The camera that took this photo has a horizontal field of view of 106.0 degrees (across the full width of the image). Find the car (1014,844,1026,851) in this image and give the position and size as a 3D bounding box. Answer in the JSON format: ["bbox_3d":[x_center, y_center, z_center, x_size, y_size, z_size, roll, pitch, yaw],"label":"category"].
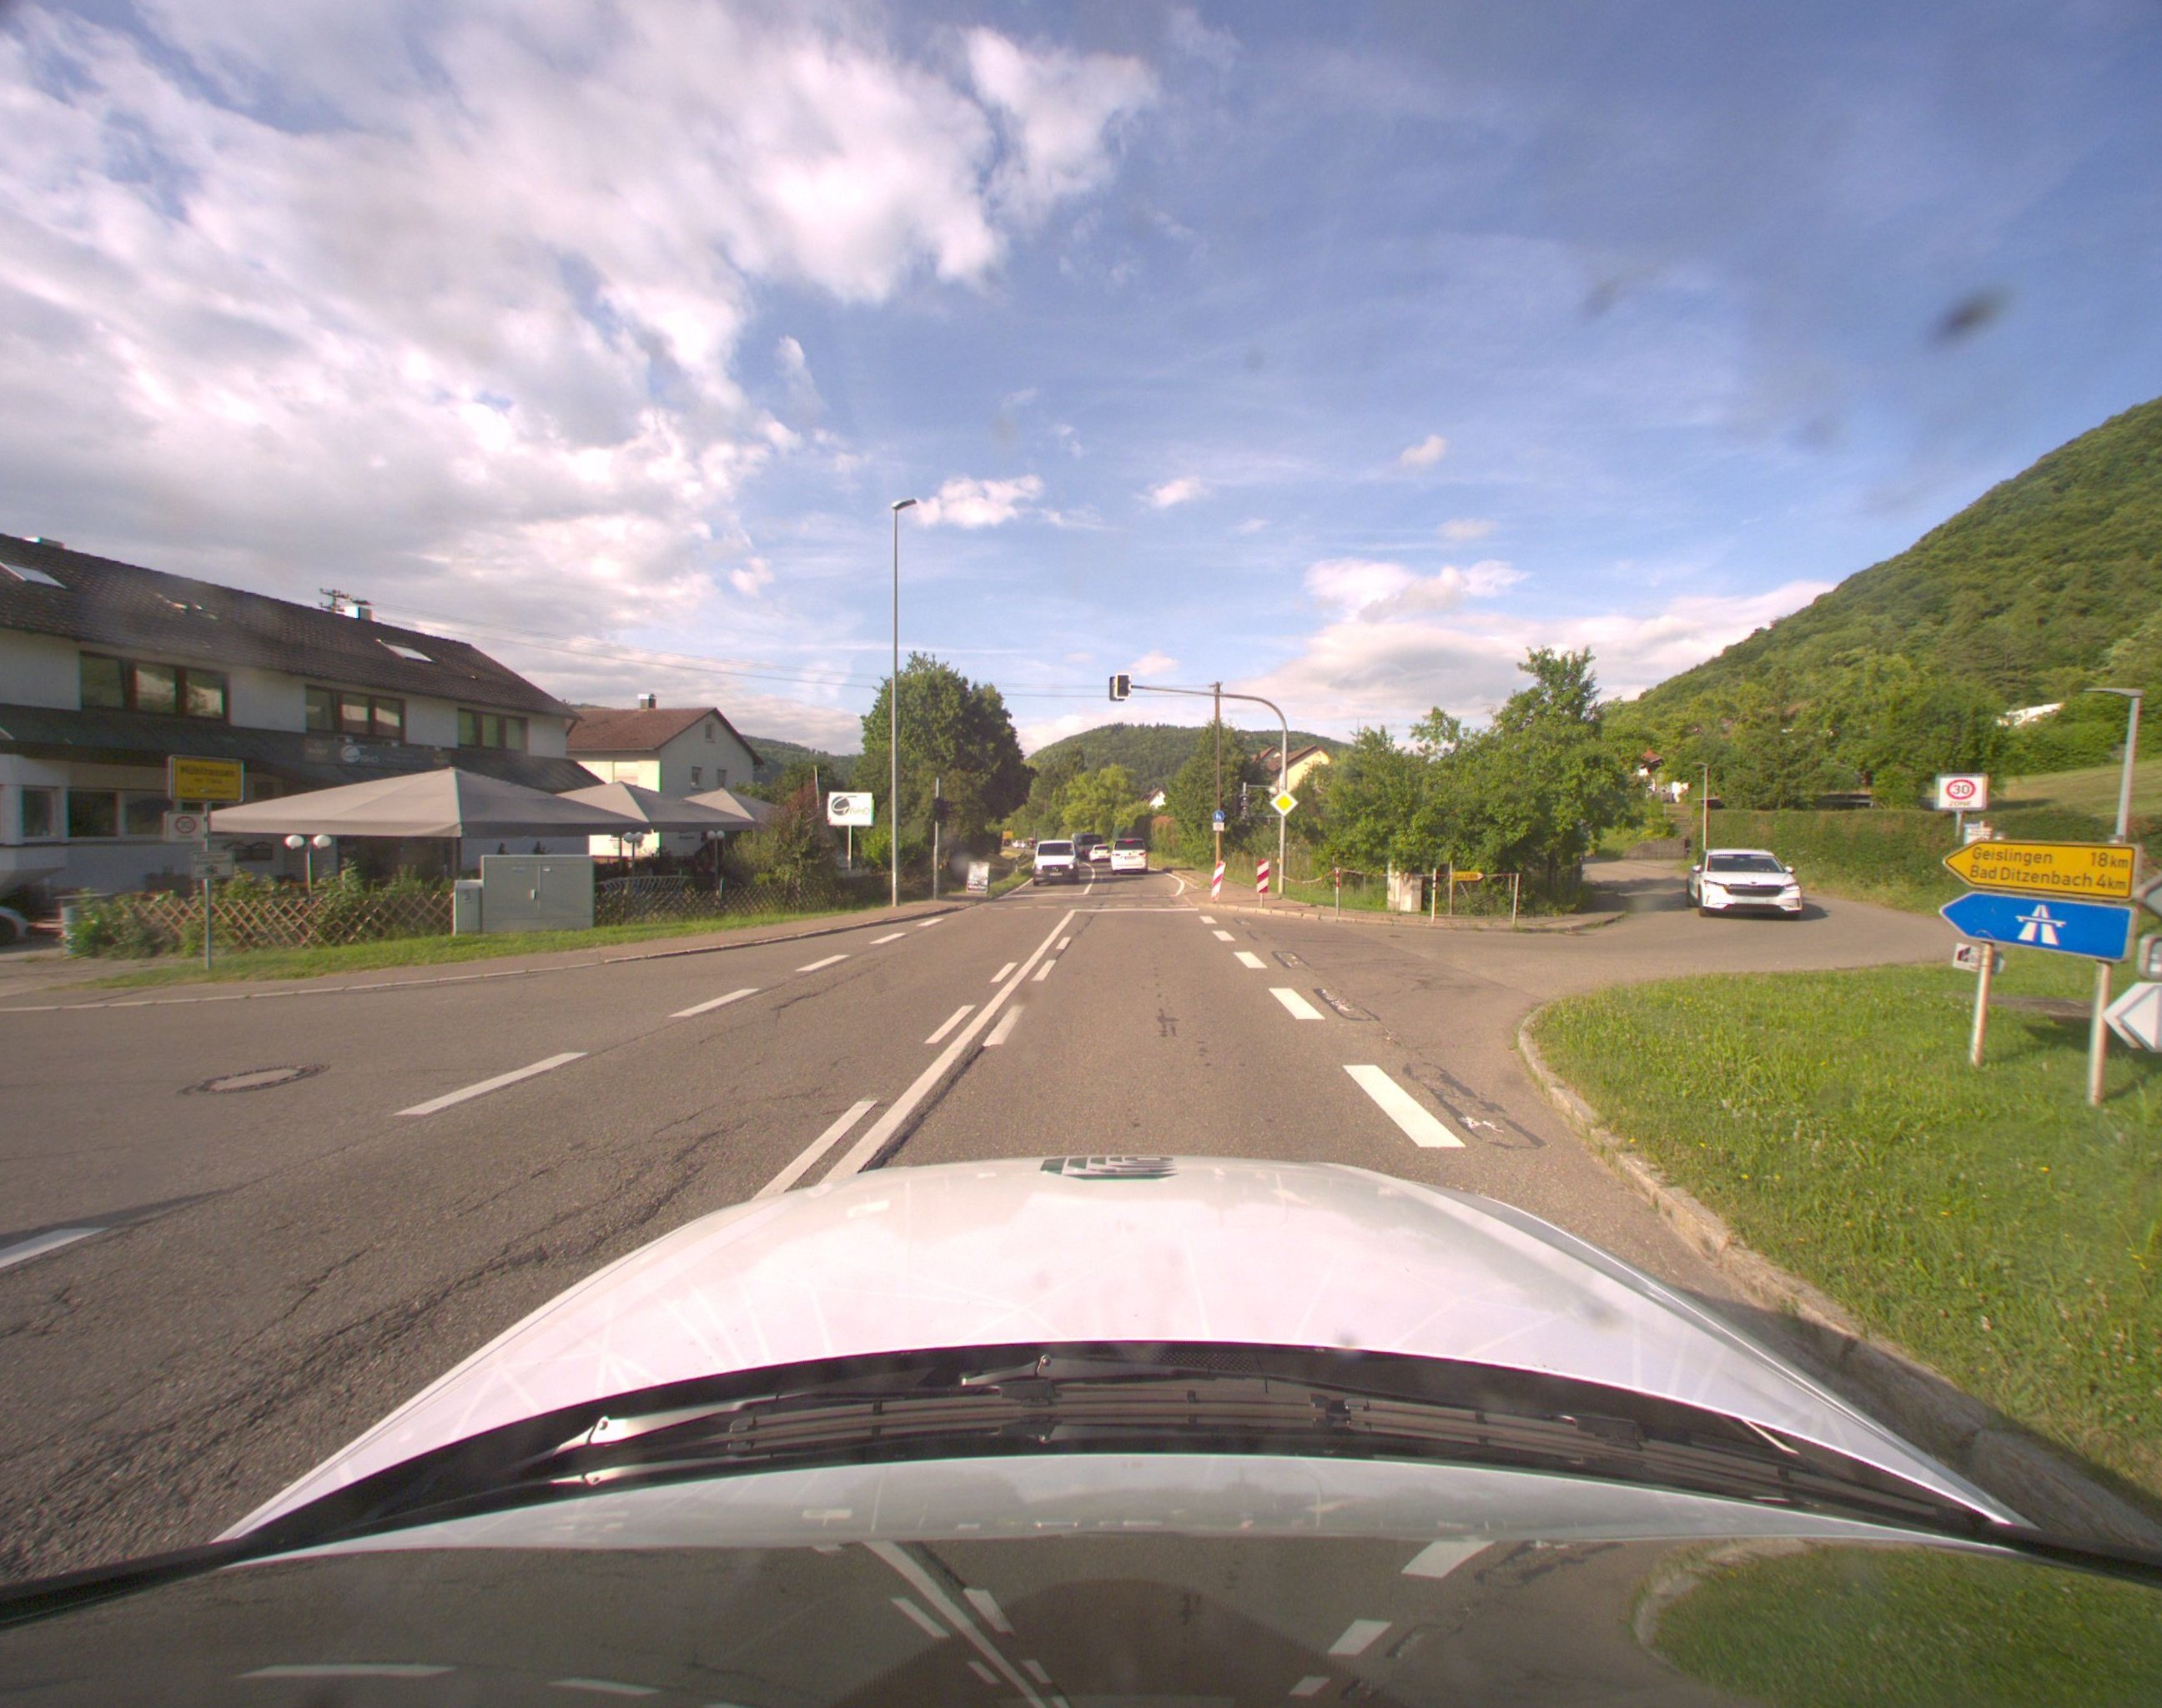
[{"bbox_3d":[-11.938,-1.239,159.404,1.943,1.424,3.986,-1,1,-11],"label":"car"}]

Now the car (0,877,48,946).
[{"bbox_3d":[-23.643,1.250,15.447,1.982,1.389,4.587,-2,0,8],"label":"car"}]

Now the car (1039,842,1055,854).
[{"bbox_3d":[-5.290,-1.014,126.168,1.798,1.793,3.983,-1,1,-13],"label":"car"}]

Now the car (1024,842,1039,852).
[{"bbox_3d":[-8.603,-1.192,141.584,2.042,1.683,3.985,0,1,-12],"label":"car"}]

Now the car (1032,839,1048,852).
[{"bbox_3d":[-6.738,-1.369,132.891,1.995,2.013,3.984,-1,1,-12],"label":"car"}]

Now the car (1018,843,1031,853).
[{"bbox_3d":[-10.377,-1.053,150.233,1.942,1.684,3.986,-2,0,-10],"label":"car"}]

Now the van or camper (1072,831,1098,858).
[{"bbox_3d":[0.364,-1.048,91.838,2.411,2.904,6.121,-1,1,-5],"label":"van or camper"}]

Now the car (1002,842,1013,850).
[{"bbox_3d":[-16.030,-1.791,177.902,1.773,1.783,3.983,-2,0,-12],"label":"car"}]

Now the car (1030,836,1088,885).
[{"bbox_3d":[-0.867,0.232,35.432,1.985,1.903,5.258,-2,1,3],"label":"car"}]

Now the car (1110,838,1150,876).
[{"bbox_3d":[2.608,0.092,44.080,1.986,1.876,4.873,1,1,2],"label":"car"}]

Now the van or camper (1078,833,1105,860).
[{"bbox_3d":[0.939,-0.722,76.923,2.175,2.385,5.362,-1,1,-4],"label":"van or camper"}]

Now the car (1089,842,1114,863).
[{"bbox_3d":[1.674,-0.120,67.857,1.988,1.684,3.999,-1,1,-1],"label":"car"}]

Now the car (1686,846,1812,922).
[{"bbox_3d":[16.560,0.641,20.423,1.849,1.610,4.601,1,1,32],"label":"car"}]
